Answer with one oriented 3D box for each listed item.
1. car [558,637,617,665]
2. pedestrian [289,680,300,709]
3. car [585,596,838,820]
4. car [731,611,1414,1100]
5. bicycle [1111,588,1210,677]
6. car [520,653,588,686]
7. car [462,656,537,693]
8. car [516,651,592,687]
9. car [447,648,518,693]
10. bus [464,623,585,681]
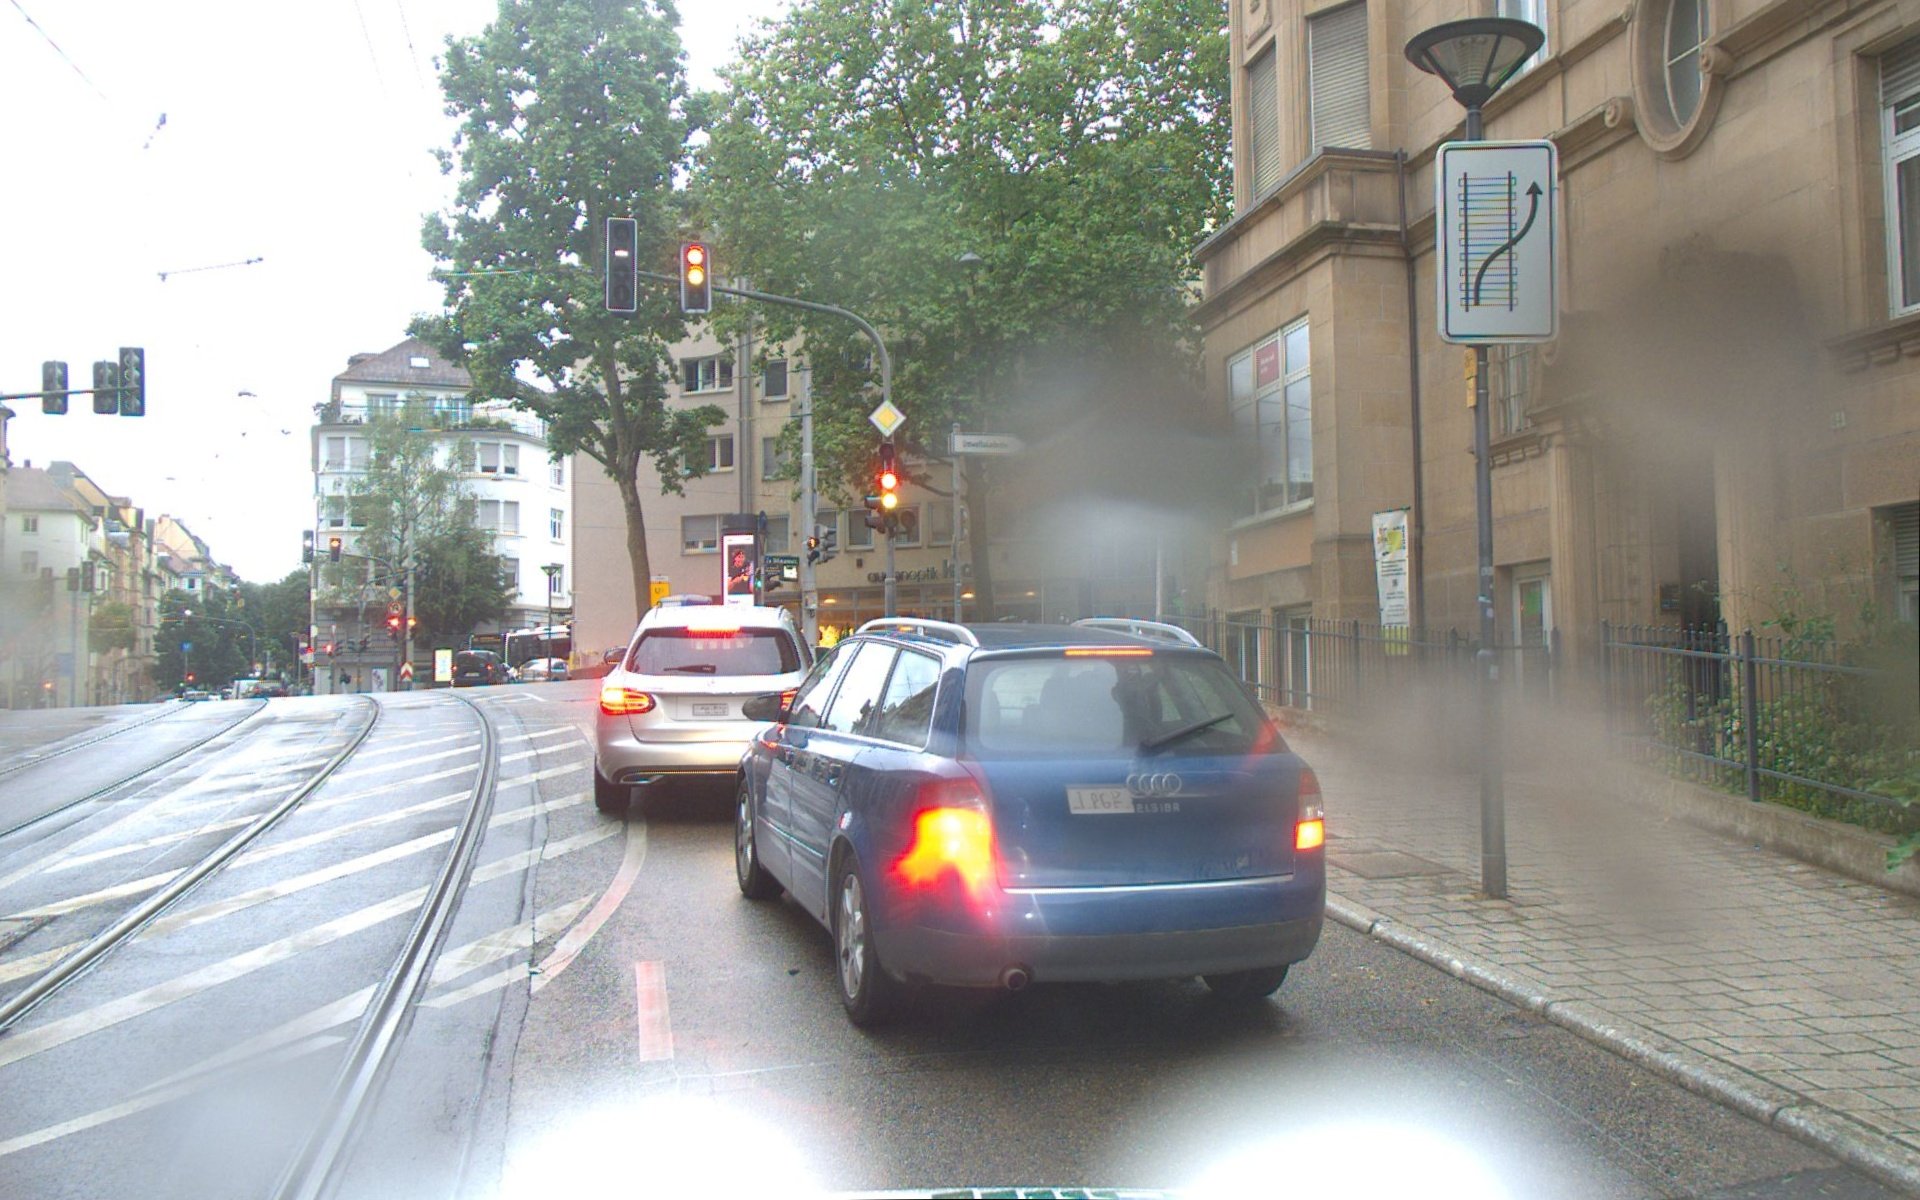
[{"bbox_3d":[-22.849,3.124,101.514,1.756,1.536,4.002,-1,0,17],"label":"car"},{"bbox_3d":[-41.075,5.832,102.078,0.639,1.690,0.646,0,-1,-21],"label":"pedestrian"},{"bbox_3d":[-1.901,0.720,12.890,1.678,1.481,3.546,0,0,-8],"label":"car"},{"bbox_3d":[0.145,0.792,7.210,1.683,1.440,4.017,0,0,-17],"label":"car"},{"bbox_3d":[2.875,0.459,23.745,1.278,1.194,0.524,-3,0,-13],"label":"bicycle"},{"bbox_3d":[-22.014,3.750,89.805,1.756,1.536,4.002,-1,0,17],"label":"car"},{"bbox_3d":[-23.251,3.766,83.687,1.756,1.642,4.002,-1,0,17],"label":"car"},{"bbox_3d":[-20.074,3.388,81.965,1.756,1.537,4.670,-1,0,12],"label":"car"},{"bbox_3d":[-19.402,2.848,67.384,1.758,1.536,3.999,-3,0,-2],"label":"car"},{"bbox_3d":[-24.595,2.882,93.997,2.793,2.911,8.741,-1,0,13],"label":"bus"}]
